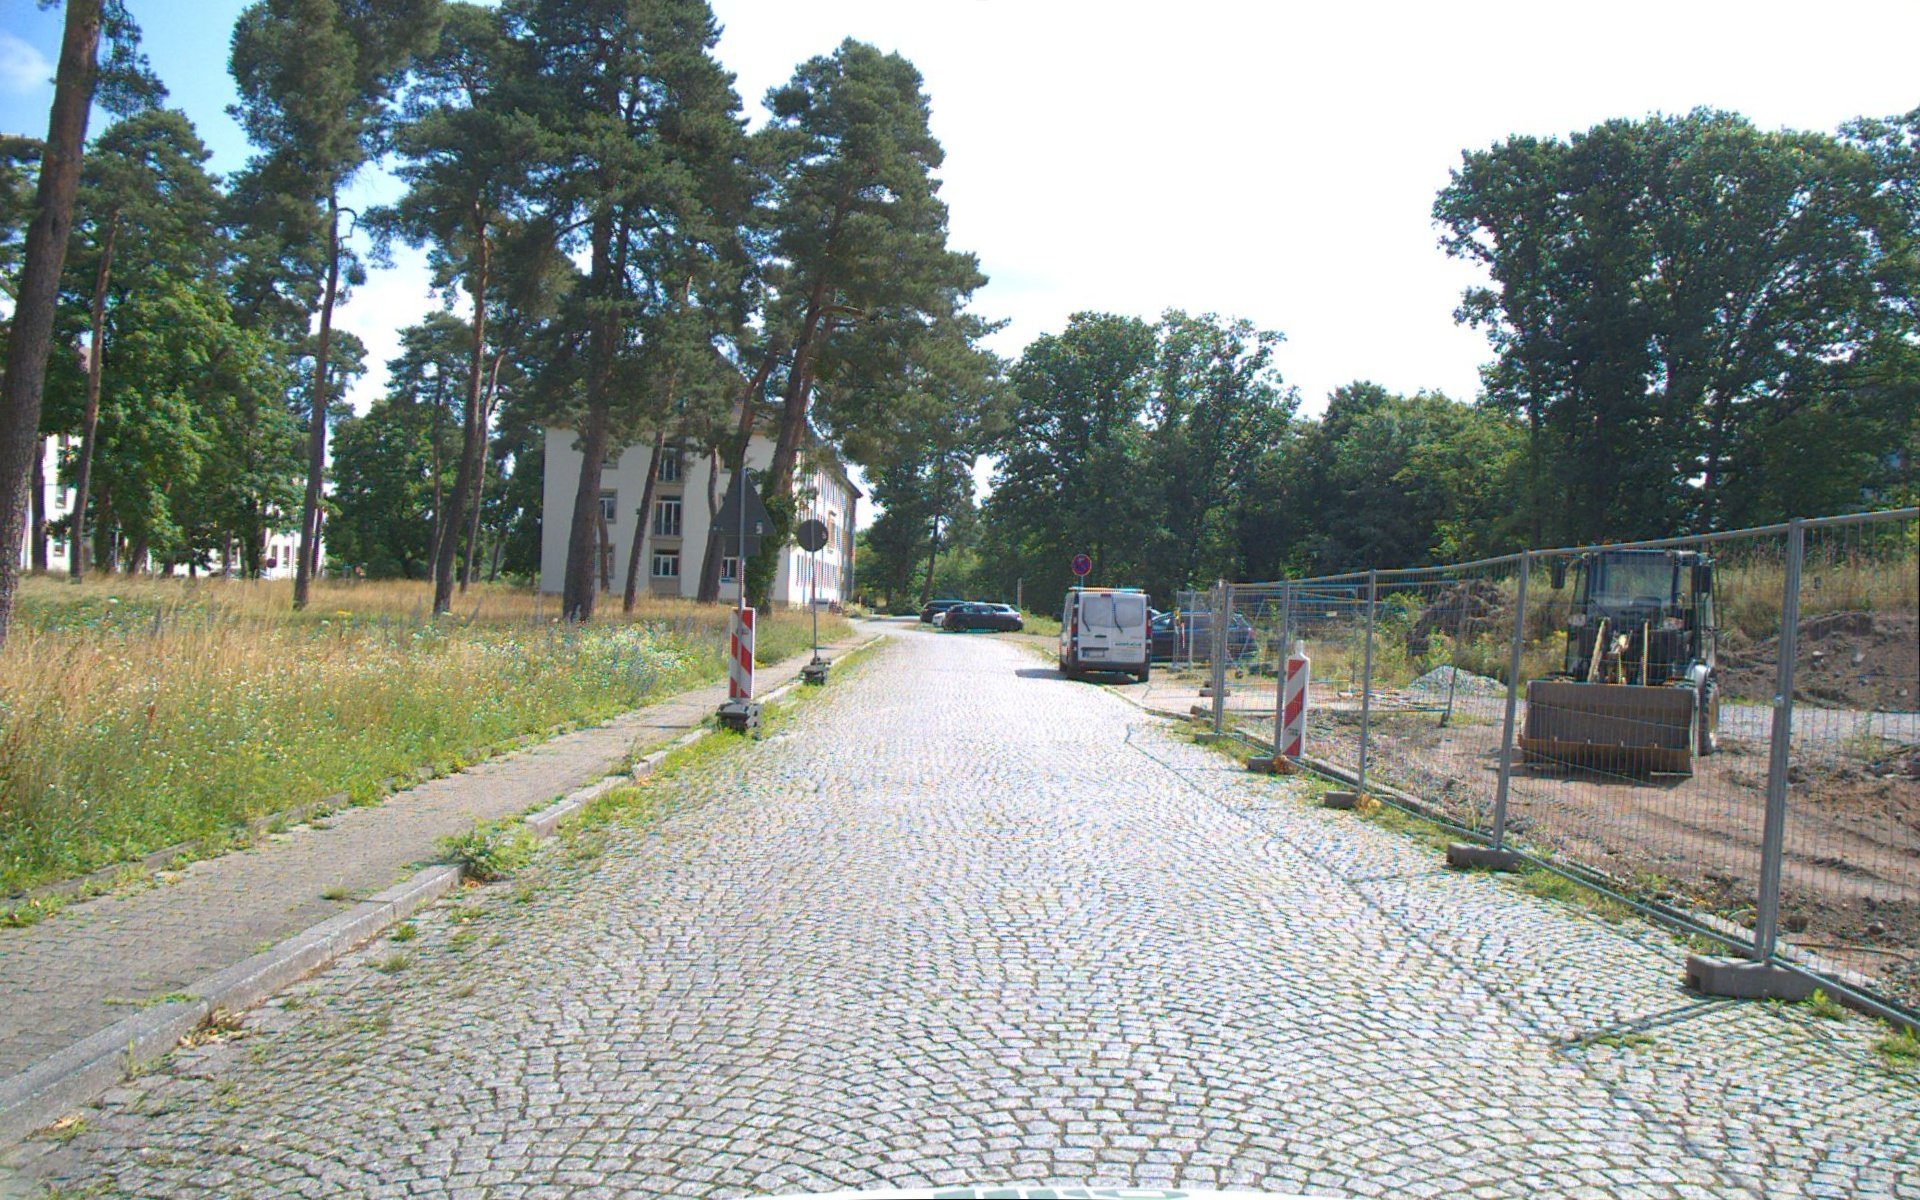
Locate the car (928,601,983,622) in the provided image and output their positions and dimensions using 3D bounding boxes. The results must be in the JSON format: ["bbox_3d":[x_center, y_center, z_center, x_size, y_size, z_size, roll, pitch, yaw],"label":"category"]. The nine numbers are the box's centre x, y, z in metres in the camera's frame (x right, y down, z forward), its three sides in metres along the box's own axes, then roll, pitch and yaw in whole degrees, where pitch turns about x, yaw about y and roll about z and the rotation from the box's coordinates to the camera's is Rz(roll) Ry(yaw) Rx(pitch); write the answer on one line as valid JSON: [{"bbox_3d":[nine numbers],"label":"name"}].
[{"bbox_3d":[-0.298,0.877,124.644,4.100,1.570,1.820,0,-1,1],"label":"car"}]

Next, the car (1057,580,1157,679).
[{"bbox_3d":[3.359,0.658,38.773,1.874,2.089,5.679,1,0,1],"label":"car"}]

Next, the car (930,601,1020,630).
[{"bbox_3d":[0.789,0.833,89.176,4.764,1.498,1.874,0,1,-2],"label":"car"}]

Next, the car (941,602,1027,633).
[{"bbox_3d":[1.244,0.906,85.997,4.244,1.526,1.826,0,1,-9],"label":"car"}]

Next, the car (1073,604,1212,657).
[{"bbox_3d":[5.431,0.906,49.388,3.907,1.533,1.745,0,0,-3],"label":"car"}]

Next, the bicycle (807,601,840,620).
[{"bbox_3d":[-9.341,0.718,113.543,2.176,1.282,0.623,1,-1,2],"label":"bicycle"}]

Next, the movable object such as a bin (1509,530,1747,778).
[{"bbox_3d":[8.254,0.530,20.077,2.101,2.566,5.648,1,1,28],"label":"movable object such as a bin"}]

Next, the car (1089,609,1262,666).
[{"bbox_3d":[5.791,1.005,44.671,4.366,1.501,1.744,0,0,-5],"label":"car"}]
